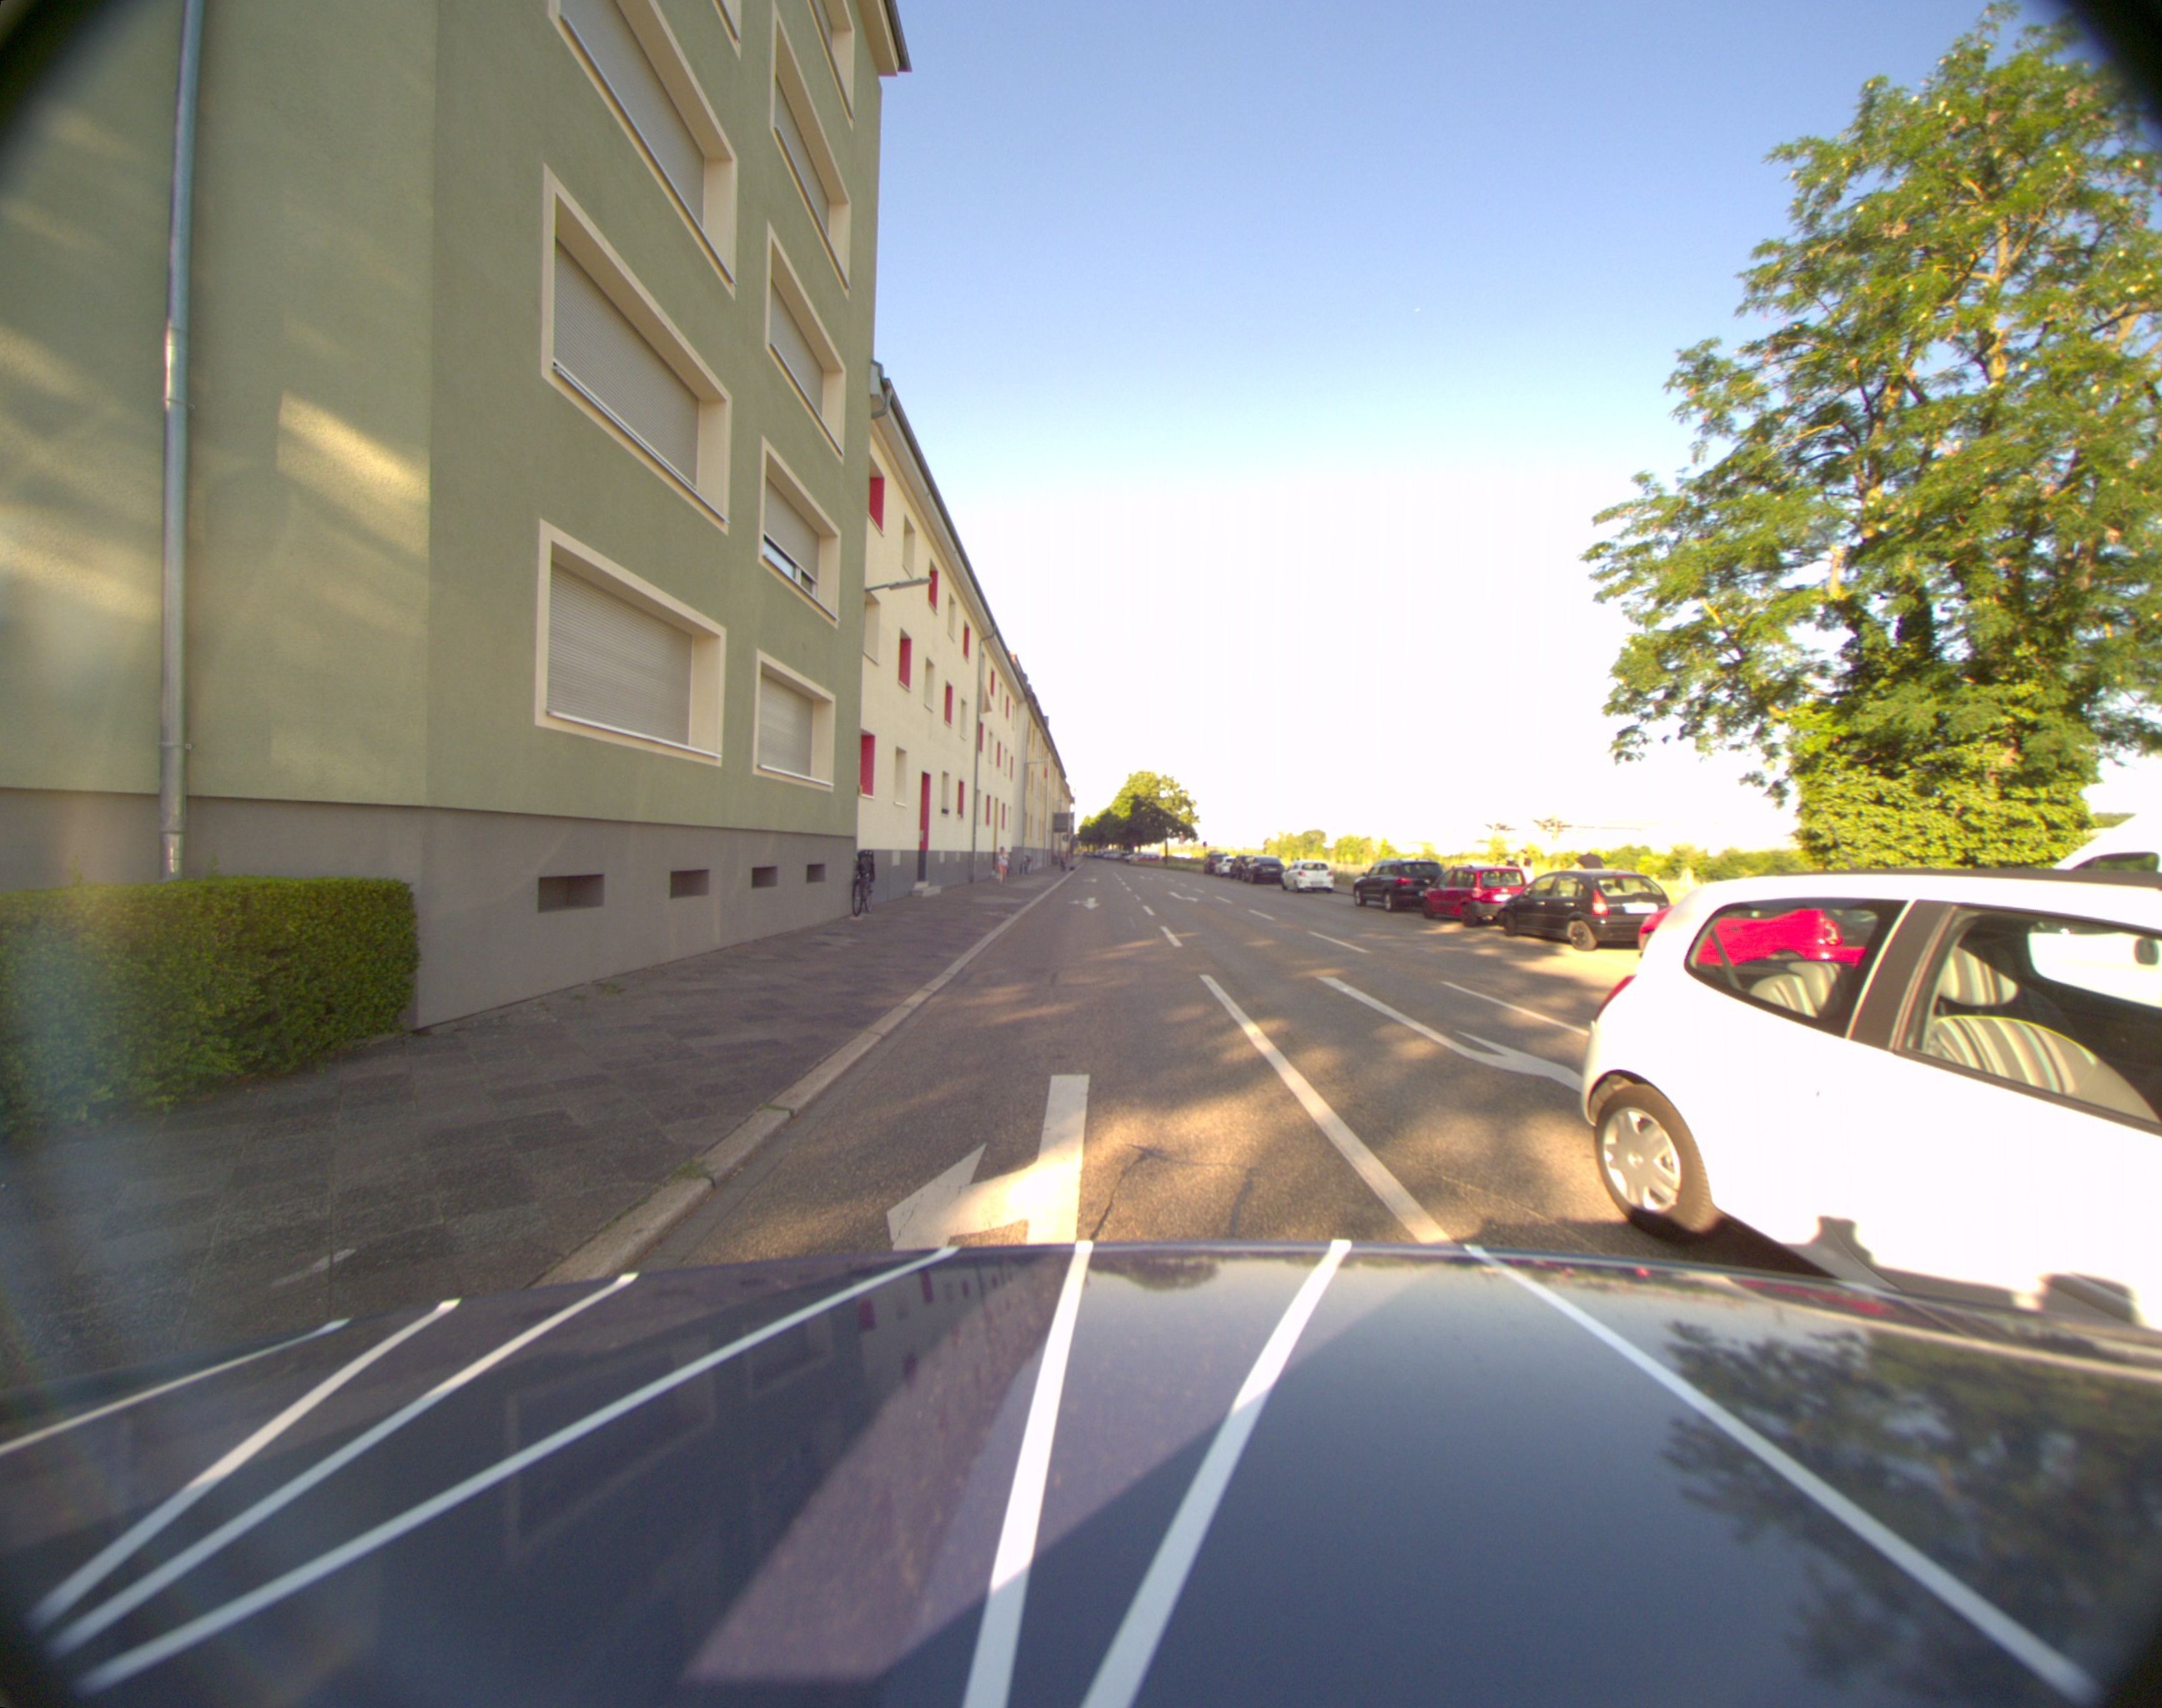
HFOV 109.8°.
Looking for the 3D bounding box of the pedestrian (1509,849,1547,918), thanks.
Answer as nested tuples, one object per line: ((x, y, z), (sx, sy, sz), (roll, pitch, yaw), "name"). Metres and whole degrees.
((13.139, 0.855, 22.360), (0.615, 2.002, 0.730), (2, 1, -1), "pedestrian")

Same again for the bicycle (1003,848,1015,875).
((-3.937, 0.387, 41.380), (0.517, 1.404, 1.873), (2, 1, -3), "bicycle")

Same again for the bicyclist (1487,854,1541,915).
((11.813, 0.803, 20.763), (0.768, 1.587, 1.146), (2, 1, 1), "bicyclist")

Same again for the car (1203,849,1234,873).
((10.999, 0.530, 60.987), (1.890, 1.765, 4.220), (2, 1, 2), "car")

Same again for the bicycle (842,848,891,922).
((-4.313, 0.579, 15.376), (0.517, 1.404, 1.873), (2, 1, -3), "bicycle")

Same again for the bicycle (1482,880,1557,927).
((11.770, 1.300, 20.510), (0.748, 1.084, 2.163), (2, 1, 0), "bicycle")

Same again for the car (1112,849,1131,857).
((9.190, -0.206, 173.171), (3.997, 1.708, 2.000), (2, 1, -1), "car")

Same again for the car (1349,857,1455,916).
((10.138, 0.953, 24.354), (1.664, 1.649, 4.005), (2, 1, 0), "car")

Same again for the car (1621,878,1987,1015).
((10.064, 1.181, 11.048), (1.745, 1.478, 3.694), (2, 1, 0), "car")

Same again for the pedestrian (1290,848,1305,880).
((13.804, 0.638, 48.392), (0.706, 2.002, 0.710), (2, 1, 2), "pedestrian")

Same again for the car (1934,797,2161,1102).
((9.684, 0.750, 4.825), (2.235, 2.422, 5.559), (-1, 1, -1), "car")

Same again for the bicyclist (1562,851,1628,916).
((13.125, 0.721, 19.431), (0.866, 1.587, 1.146), (2, 1, 1), "bicyclist")

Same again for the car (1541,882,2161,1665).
((3.009, 0.897, 1.615), (1.705, 1.460, 3.775), (2, 0, -1), "car")

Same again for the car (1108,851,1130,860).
((7.482, 0.267, 149.739), (3.997, 1.708, 2.000), (2, 1, -1), "car")

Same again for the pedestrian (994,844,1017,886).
((-3.130, 0.457, 31.652), (0.787, 1.697, 0.950), (3, 1, 1), "pedestrian")

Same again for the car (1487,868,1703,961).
((10.166, 1.108, 15.417), (1.745, 1.521, 3.816), (2, 1, 0), "car")

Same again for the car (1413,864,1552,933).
((10.259, 1.066, 19.734), (1.664, 1.521, 3.579), (2, 1, 0), "car")

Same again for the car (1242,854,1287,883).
((10.567, 0.817, 44.009), (1.823, 1.517, 4.291), (2, 0, 5), "car")

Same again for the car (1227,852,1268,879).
((10.844, 0.688, 49.709), (1.823, 1.628, 4.220), (2, 0, 2), "car")

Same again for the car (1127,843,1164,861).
((9.517, -0.287, 112.248), (5.322, 2.398, 2.266), (-2, 1, 0), "car")

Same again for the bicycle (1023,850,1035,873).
((-3.167, 0.438, 46.312), (0.517, 1.318, 2.210), (2, 1, 2), "bicycle")

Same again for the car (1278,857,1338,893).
((10.407, 0.925, 35.075), (1.706, 1.517, 3.583), (2, 1, 1), "car")

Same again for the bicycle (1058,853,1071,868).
((-1.252, 0.498, 56.847), (0.651, 1.091, 2.201), (1, 1, -8), "bicycle")

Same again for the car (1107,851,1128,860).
((7.414, 0.209, 155.322), (3.997, 1.708, 2.000), (2, 1, -1), "car")

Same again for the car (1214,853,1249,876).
((10.850, 0.713, 55.102), (1.823, 1.565, 4.220), (2, 0, 2), "car")
